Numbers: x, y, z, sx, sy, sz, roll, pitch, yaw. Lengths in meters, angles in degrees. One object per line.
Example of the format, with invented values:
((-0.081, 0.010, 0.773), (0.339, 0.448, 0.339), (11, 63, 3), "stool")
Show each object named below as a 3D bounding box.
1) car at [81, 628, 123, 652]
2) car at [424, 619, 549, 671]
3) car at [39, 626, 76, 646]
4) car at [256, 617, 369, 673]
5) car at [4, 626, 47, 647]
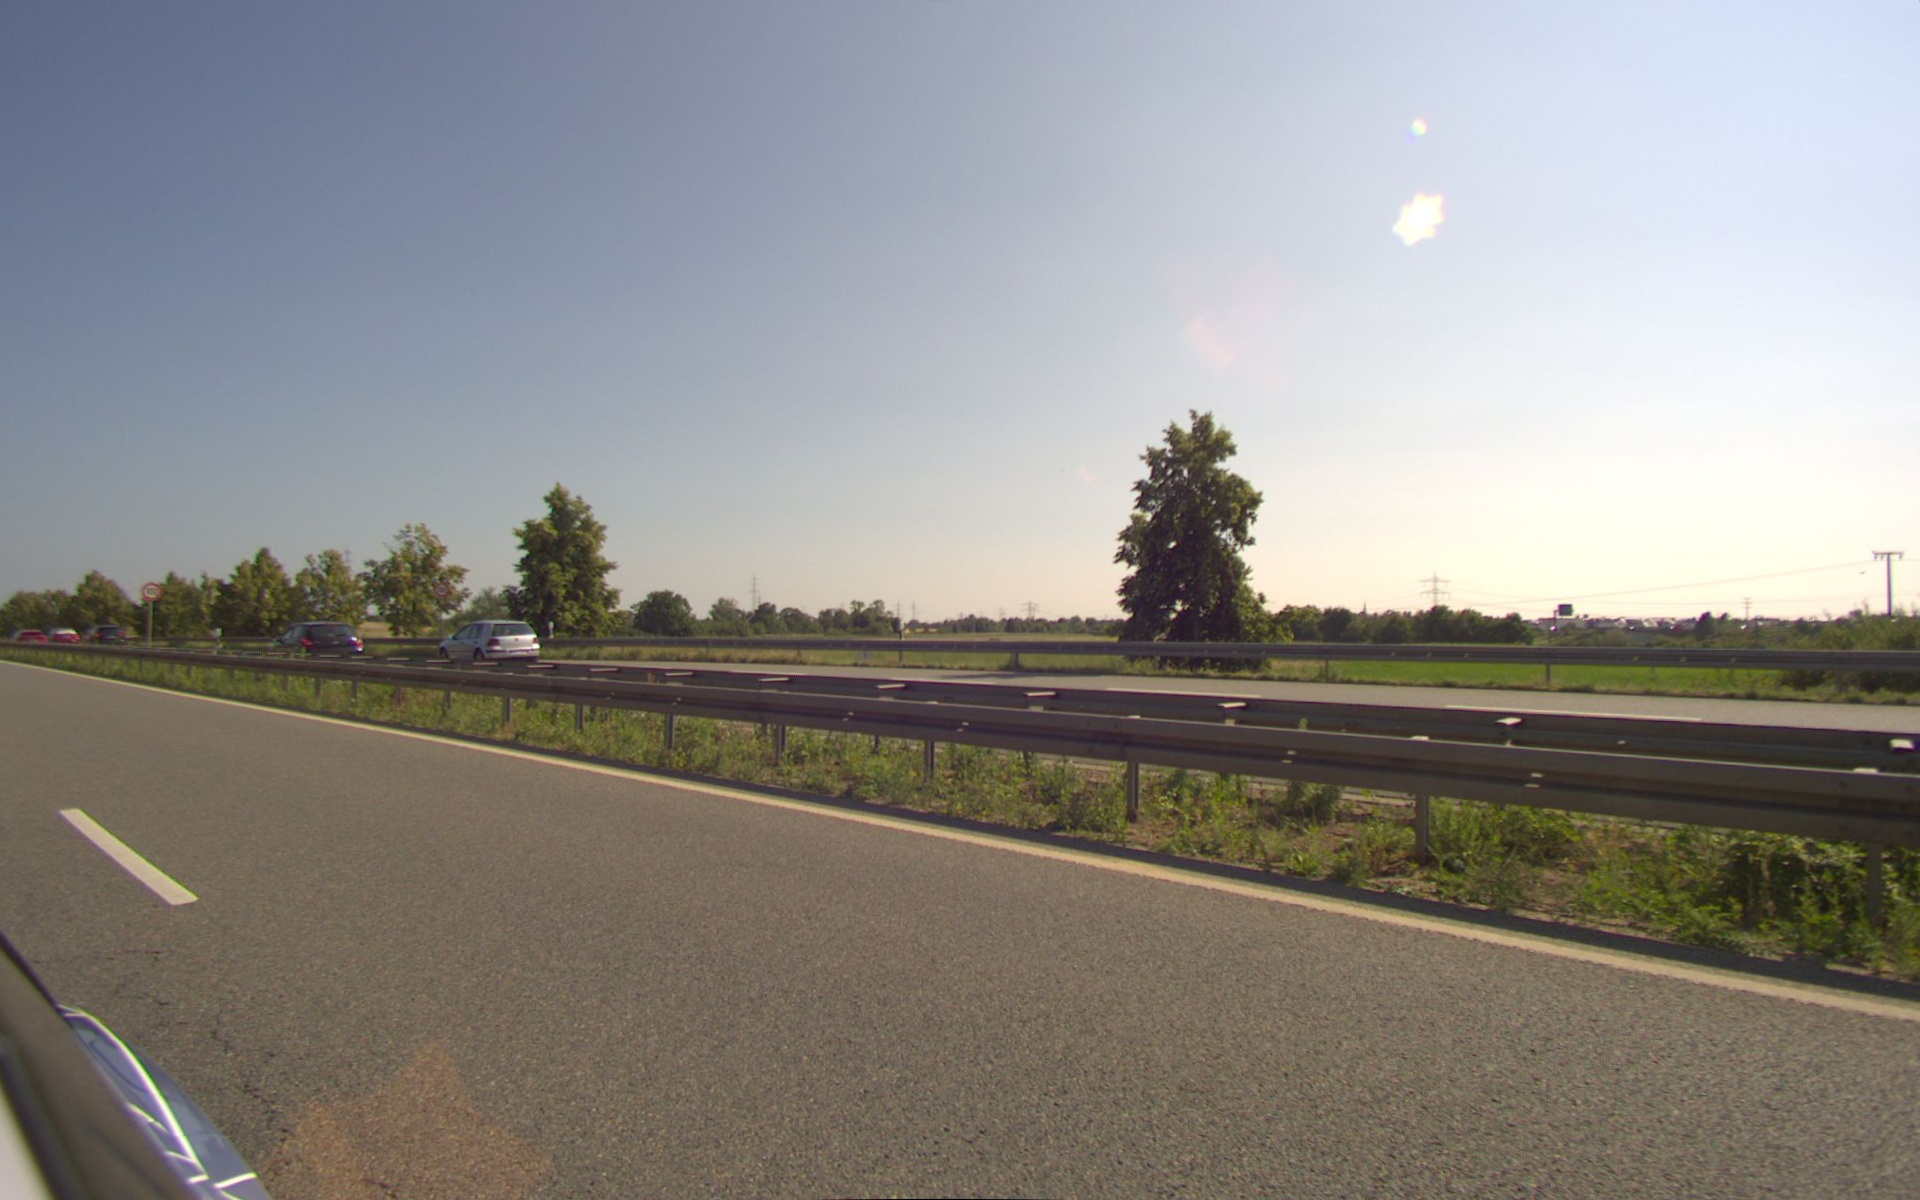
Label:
((-60.556, 2.809, 71.396), (4.219, 1.607, 1.708), (-2, -1, 42), "car")
((-14.449, 1.322, 30.785), (4.414, 1.406, 1.802), (-1, 1, 42), "car")
((-77.231, 3.085, 86.558), (4.772, 1.605, 1.824), (-2, 0, 42), "car")
((-19.426, 1.310, 30.288), (4.414, 1.481, 1.695), (-1, 1, 42), "car")
((-69.716, 2.681, 75.454), (5.093, 1.504, 1.856), (-1, 0, 42), "car")
